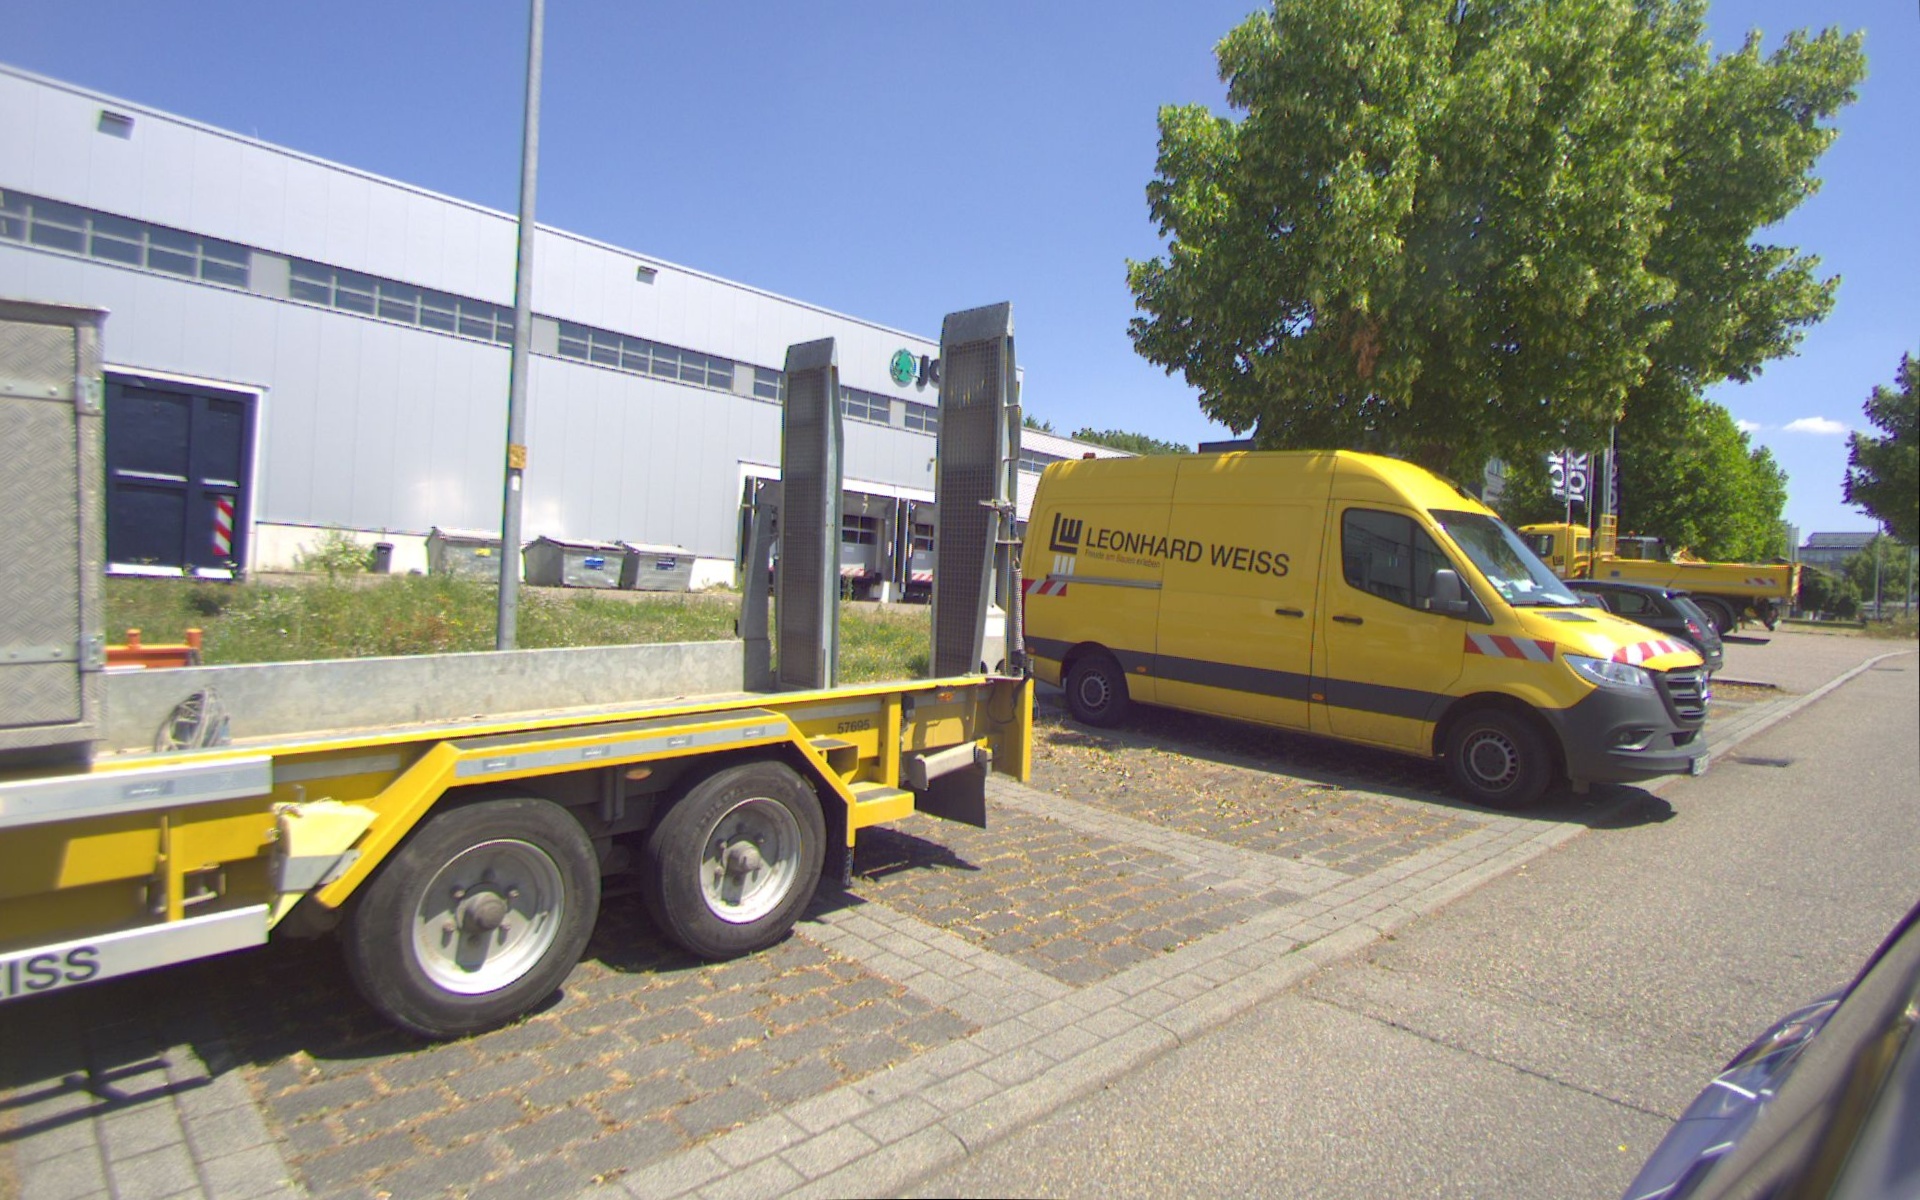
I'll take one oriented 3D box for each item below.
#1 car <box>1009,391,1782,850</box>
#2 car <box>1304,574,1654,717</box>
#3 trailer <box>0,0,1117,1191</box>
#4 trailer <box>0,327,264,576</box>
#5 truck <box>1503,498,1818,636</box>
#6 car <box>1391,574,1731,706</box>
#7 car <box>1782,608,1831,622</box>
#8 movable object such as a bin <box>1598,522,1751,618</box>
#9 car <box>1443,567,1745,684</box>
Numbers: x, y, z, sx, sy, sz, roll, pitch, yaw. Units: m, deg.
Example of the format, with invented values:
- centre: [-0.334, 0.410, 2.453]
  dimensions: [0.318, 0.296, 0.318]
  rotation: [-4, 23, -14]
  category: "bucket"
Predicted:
- centre: [3.237, -0.098, 8.899]
  dimensions: [1.965, 2.765, 5.792]
  rotation: [2, 4, -42]
  category: "car"
- centre: [6.415, 0.454, 12.760]
  dimensions: [1.601, 1.497, 3.605]
  rotation: [0, 1, -45]
  category: "car"
- centre: [-2.048, -0.217, 4.175]
  dimensions: [2.657, 2.892, 5.434]
  rotation: [4, 3, 43]
  category: "trailer"
- centre: [-12.116, -1.782, 10.803]
  dimensions: [7.288, 2.452, 2.661]
  rotation: [5, -3, -44]
  category: "trailer"
- centre: [18.051, -0.919, 26.363]
  dimensions: [6.403, 3.174, 2.556]
  rotation: [3, 3, 43]
  category: "truck"
- centre: [8.185, 0.440, 14.012]
  dimensions: [1.565, 1.526, 3.773]
  rotation: [0, 2, -45]
  category: "car"
- centre: [89.540, 1.600, 107.090]
  dimensions: [1.583, 1.290, 3.835]
  rotation: [1, 1, -44]
  category: "car"
- centre: [21.453, -0.869, 30.251]
  dimensions: [6.458, 2.613, 1.998]
  rotation: [-1, 1, -39]
  category: "movable object such as a bin"
- centre: [9.787, 0.303, 15.822]
  dimensions: [1.600, 1.480, 3.666]
  rotation: [0, 3, -43]
  category: "car"
